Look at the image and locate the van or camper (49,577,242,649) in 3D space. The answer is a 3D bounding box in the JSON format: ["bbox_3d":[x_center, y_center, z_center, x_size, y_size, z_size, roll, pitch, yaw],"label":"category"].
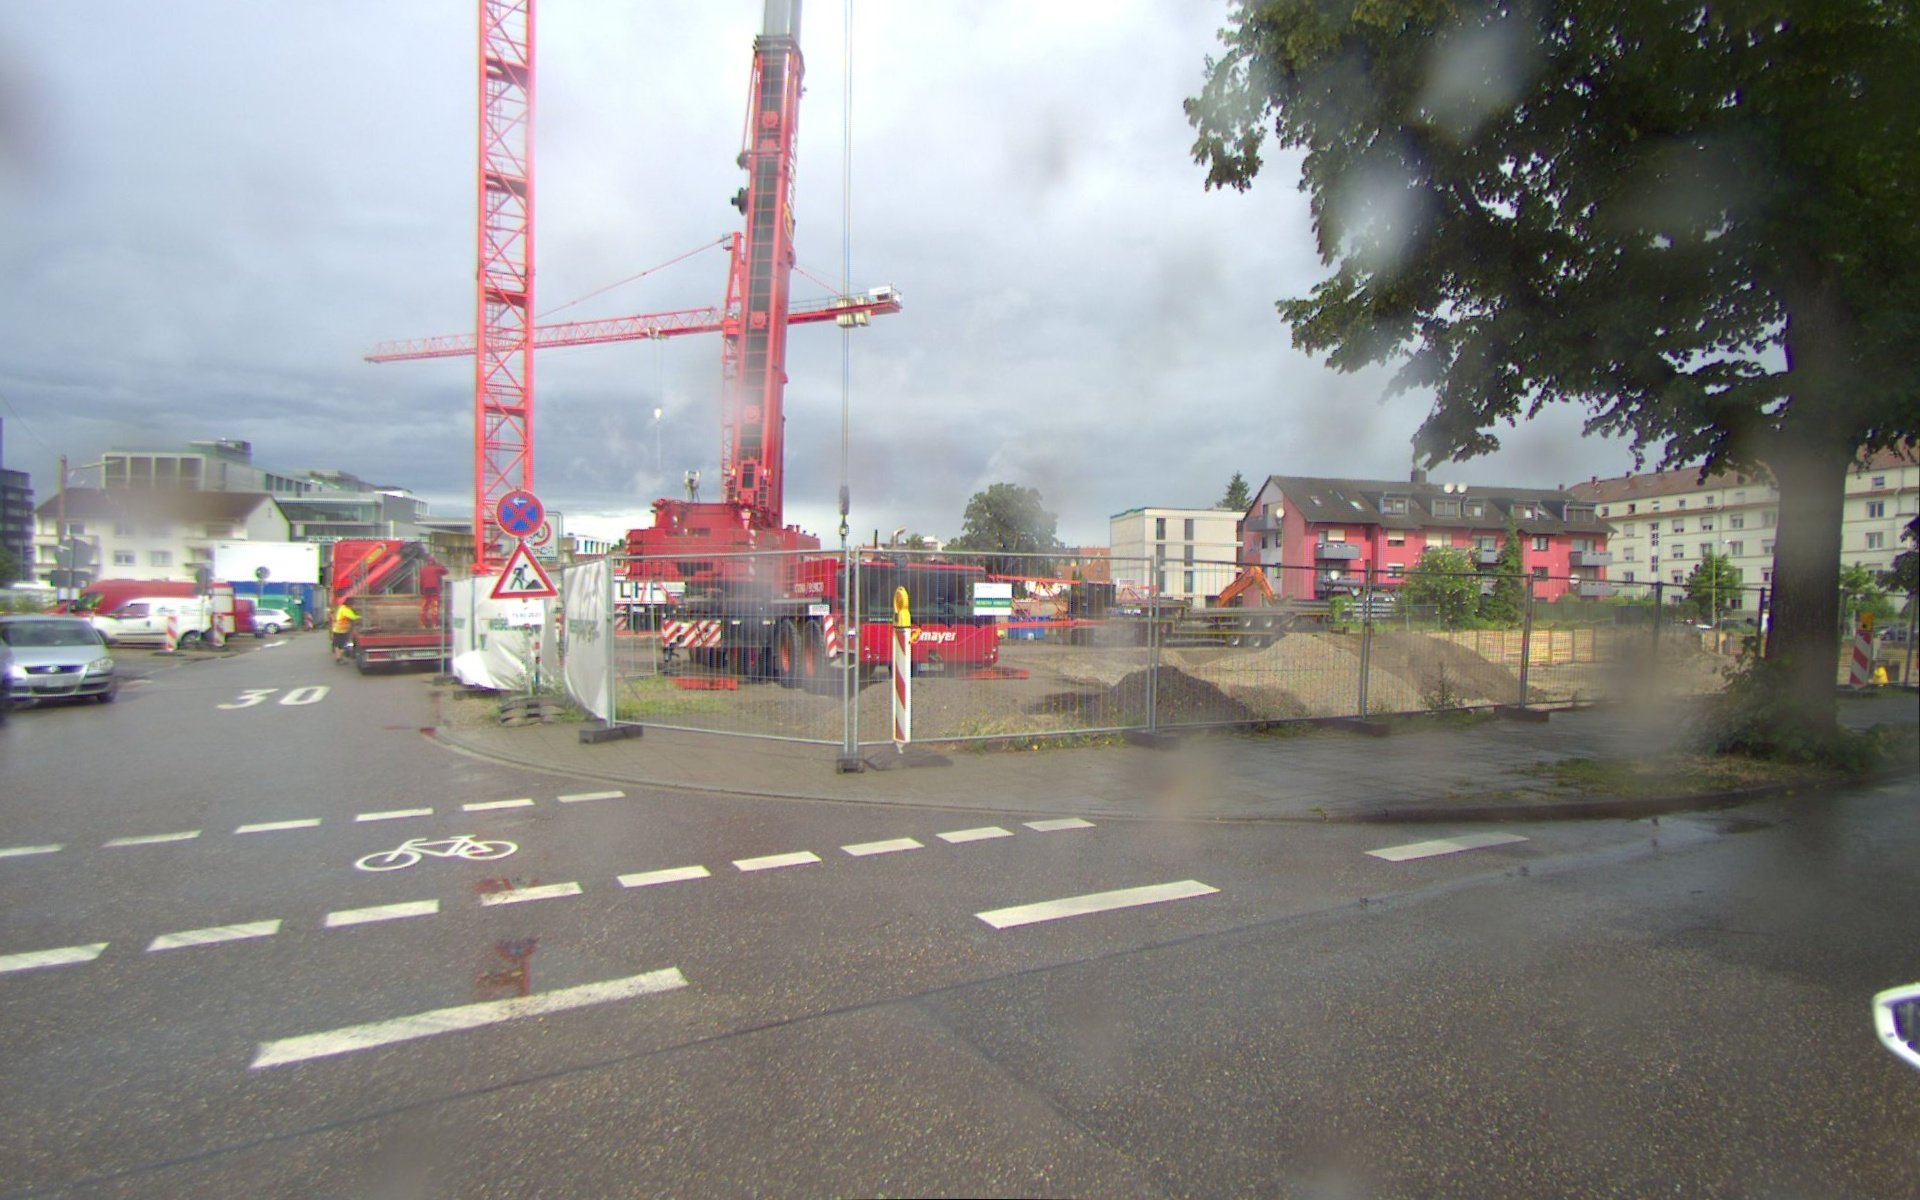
[{"bbox_3d":[-30.887,0.550,38.387,5.526,2.544,1.931,1,-4,-35],"label":"van or camper"}]

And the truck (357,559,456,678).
[{"bbox_3d":[-17.065,0.422,30.782,2.323,3.237,6.958,2,1,-31],"label":"truck"}]

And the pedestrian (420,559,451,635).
[{"bbox_3d":[-14.476,-0.071,27.744,0.681,2.040,0.487,1,-4,-37],"label":"pedestrian"}]

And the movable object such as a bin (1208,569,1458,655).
[{"bbox_3d":[27.940,0.876,76.042,16.428,6.125,6.885,0,0,-5],"label":"movable object such as a bin"}]

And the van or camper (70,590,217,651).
[{"bbox_3d":[-29.238,0.770,36.080,3.967,2.039,1.928,2,-4,-40],"label":"van or camper"}]

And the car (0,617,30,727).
[{"bbox_3d":[-13.440,0.970,12.645,1.708,1.493,4.033,1,-1,-31],"label":"car"}]

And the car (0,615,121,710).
[{"bbox_3d":[-15.556,0.985,17.284,1.714,1.432,4.019,1,-1,-40],"label":"car"}]

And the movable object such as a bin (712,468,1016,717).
[{"bbox_3d":[-2.645,-0.137,21.932,3.322,4.170,9.776,0,0,-27],"label":"movable object such as a bin"}]

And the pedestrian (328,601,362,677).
[{"bbox_3d":[-16.639,1.052,27.187,0.740,2.040,0.428,1,-4,-34],"label":"pedestrian"}]
